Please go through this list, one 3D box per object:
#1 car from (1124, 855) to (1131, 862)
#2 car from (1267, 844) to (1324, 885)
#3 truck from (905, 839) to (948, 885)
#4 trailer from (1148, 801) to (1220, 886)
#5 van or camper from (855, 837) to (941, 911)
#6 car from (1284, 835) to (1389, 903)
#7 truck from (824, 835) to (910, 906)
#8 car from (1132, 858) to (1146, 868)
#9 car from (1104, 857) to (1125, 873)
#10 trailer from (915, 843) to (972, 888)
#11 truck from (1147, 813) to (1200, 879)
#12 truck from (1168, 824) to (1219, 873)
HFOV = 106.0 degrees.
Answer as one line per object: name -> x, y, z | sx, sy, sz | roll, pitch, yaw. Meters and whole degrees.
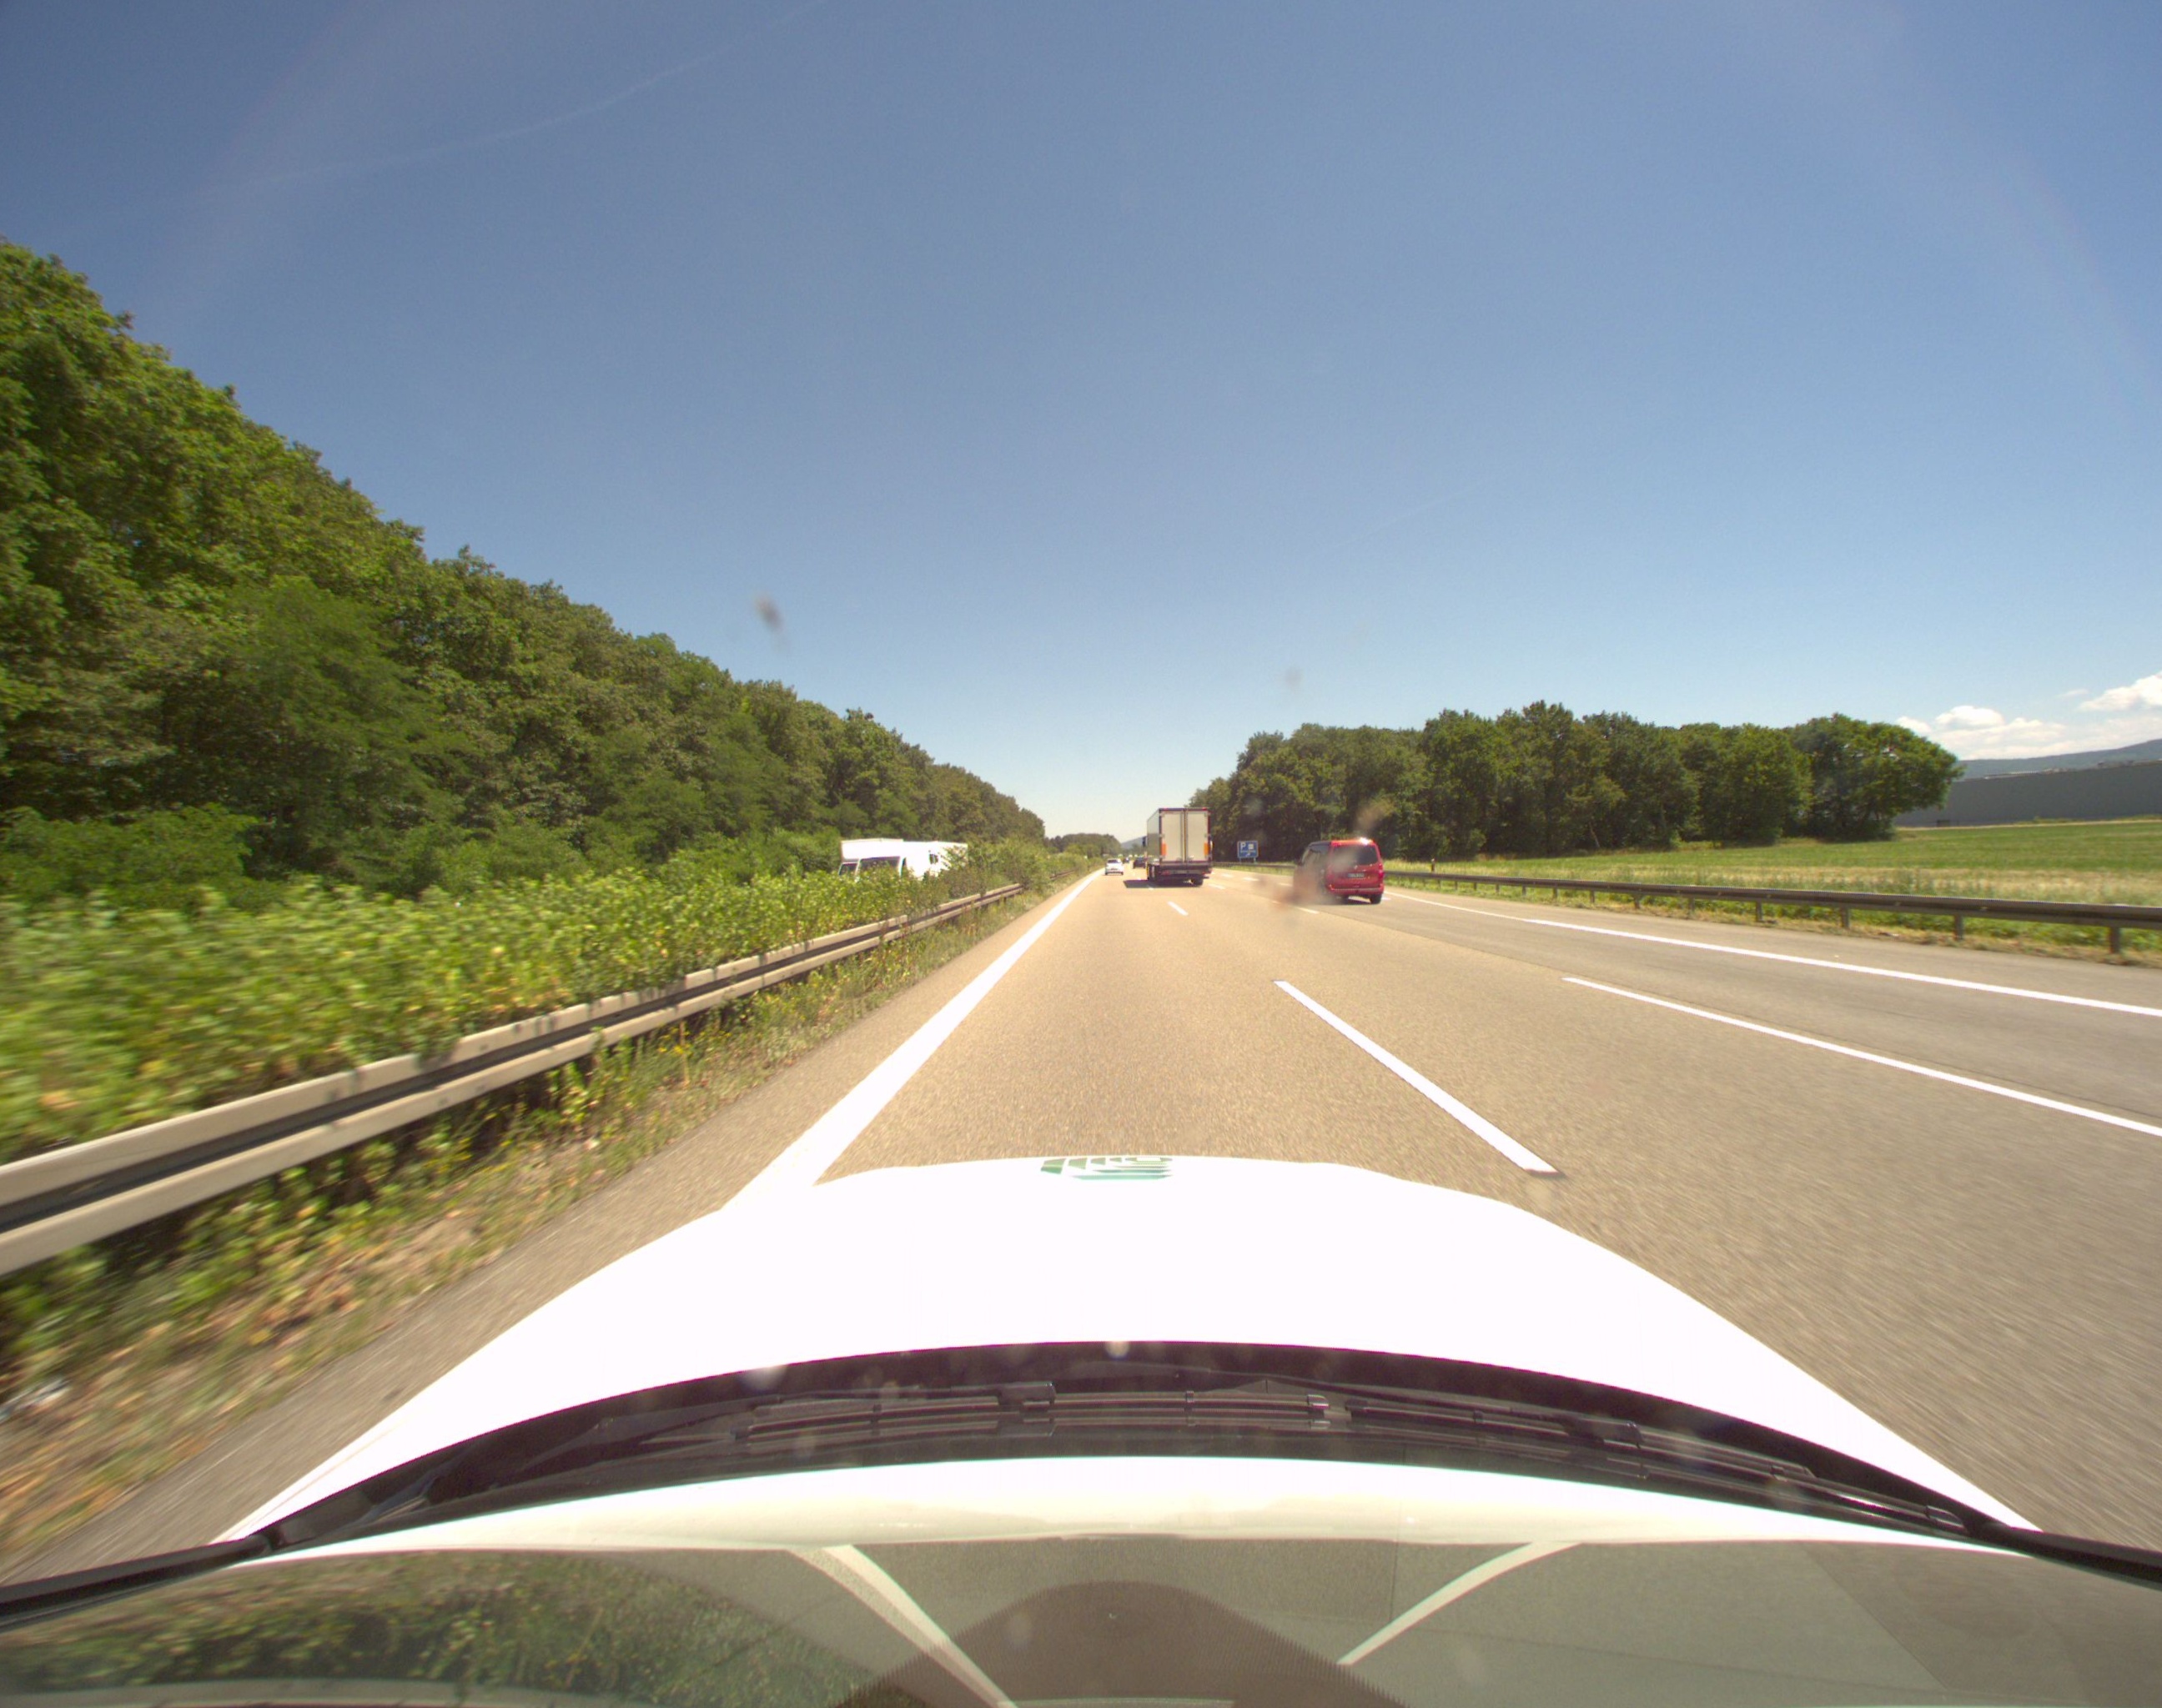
car -> 13.666, 1.465, 240.141 | 2.099, 2.014, 4.001 | -1, 0, 1
car -> 11.200, 0.537, 42.731 | 1.986, 2.013, 4.001 | -1, 0, 2
truck -> -14.281, 0.749, 75.726 | 2.823, 4.034, 4.187 | -3, -1, 2
trailer -> 5.581, -0.508, 46.408 | 3.209, 4.143, 12.363 | -2, 0, 4
van or camper -> -7.804, 0.804, 35.502 | 1.986, 2.846, 7.001 | -2, 0, 1
car -> 8.353, 0.463, 27.221 | 1.849, 2.003, 5.522 | -1, 0, 1
truck -> -11.257, 0.814, 43.495 | 2.401, 3.353, 7.001 | -4, 0, 1
car -> 8.358, 1.268, 117.005 | 1.659, 1.289, 4.008 | -2, 0, 7
car -> 3.079, 0.975, 75.337 | 1.806, 1.405, 3.316 | -2, 0, -1
trailer -> -13.741, 1.082, 82.634 | 2.823, 4.034, 12.921 | -3, 0, 2
truck -> 6.092, -0.513, 54.324 | 3.215, 4.157, 4.564 | -2, 0, 3
truck -> 10.610, -0.486, 78.149 | 3.213, 4.345, 10.804 | -2, 0, 0
